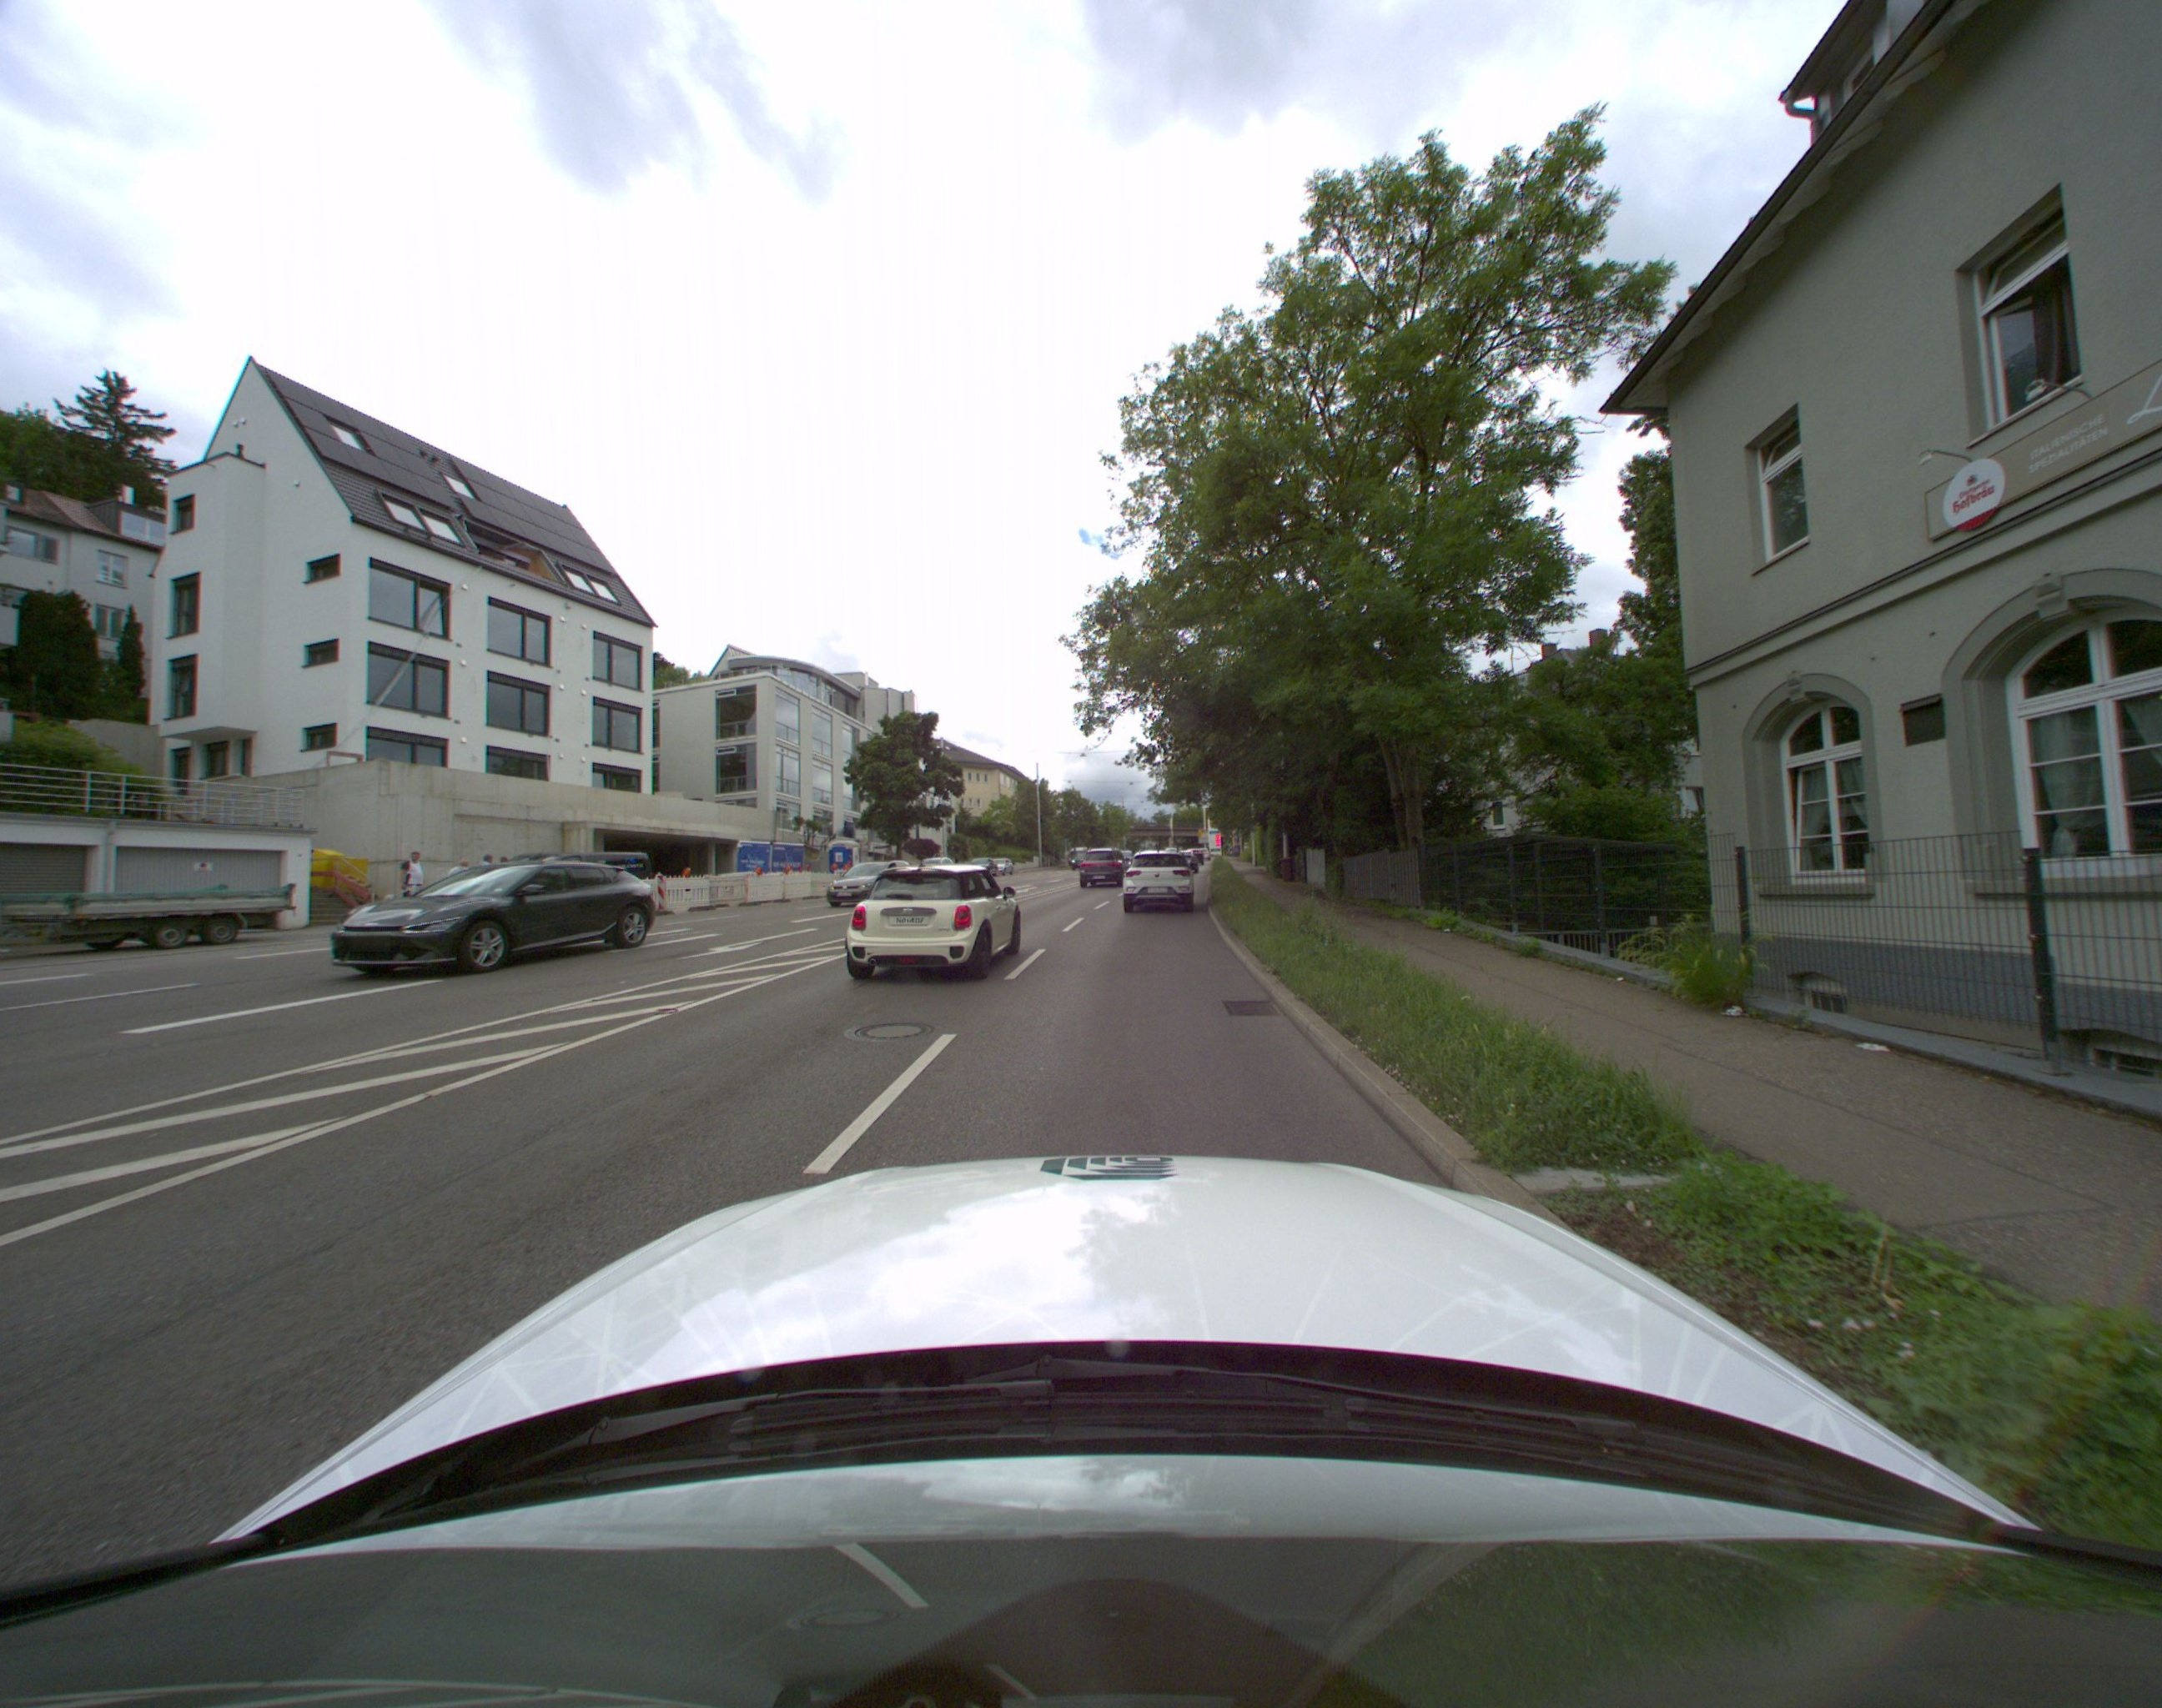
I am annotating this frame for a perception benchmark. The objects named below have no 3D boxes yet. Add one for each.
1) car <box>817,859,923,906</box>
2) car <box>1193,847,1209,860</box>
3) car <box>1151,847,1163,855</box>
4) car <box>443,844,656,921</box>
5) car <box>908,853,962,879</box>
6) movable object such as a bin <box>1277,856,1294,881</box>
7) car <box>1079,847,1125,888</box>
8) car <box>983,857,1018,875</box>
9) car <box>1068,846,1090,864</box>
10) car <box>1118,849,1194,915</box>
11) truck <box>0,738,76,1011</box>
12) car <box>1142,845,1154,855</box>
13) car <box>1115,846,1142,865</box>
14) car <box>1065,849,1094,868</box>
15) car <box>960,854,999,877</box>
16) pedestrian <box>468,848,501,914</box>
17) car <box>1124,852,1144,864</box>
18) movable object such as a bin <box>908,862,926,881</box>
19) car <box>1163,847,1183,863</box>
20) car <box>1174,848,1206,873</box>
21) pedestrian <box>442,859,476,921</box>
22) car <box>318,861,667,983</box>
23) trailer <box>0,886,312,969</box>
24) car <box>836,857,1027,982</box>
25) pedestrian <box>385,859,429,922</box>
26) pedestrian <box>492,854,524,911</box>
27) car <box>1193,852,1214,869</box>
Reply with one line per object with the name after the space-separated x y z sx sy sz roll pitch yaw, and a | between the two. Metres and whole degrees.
-6.989 0.915 27.509 1.832 1.393 4.296 -1 0 10 | car
14.732 -0.043 100.144 1.848 1.500 4.063 -2 0 6 | car
14.495 -0.510 155.664 1.852 1.500 4.054 -2 0 -1 | car
-15.118 0.733 23.628 1.969 1.967 5.236 -1 0 12 | car
-9.013 0.690 50.502 1.759 1.499 4.319 -1 0 12 | car
7.920 0.545 31.515 0.552 0.947 0.568 -1 0 5 | movable object such as a bin
0.853 0.545 36.084 1.807 1.652 4.634 -2 0 -1 | car
-6.670 0.953 67.883 1.760 1.407 4.154 -1 0 10 | car
-0.225 0.117 110.453 2.057 2.305 5.478 -1 0 8 | car
2.022 0.678 21.751 1.802 1.539 3.696 -2 0 6 | car
-13.663 0.248 5.129 2.945 2.971 8.995 -1 0 7 | truck
11.491 -0.653 139.593 1.886 1.542 4.701 -1 0 6 | car
4.367 0.136 74.685 1.759 1.596 5.199 -1 0 11 | car
-0.084 0.414 73.655 1.759 1.634 4.156 -1 0 12 | car
-7.684 0.870 62.060 1.759 1.634 3.928 -1 0 11 | car
-16.958 0.752 23.140 0.679 1.840 0.664 1 0 -41 | pedestrian
5.984 0.420 91.548 1.731 1.352 4.857 -1 0 8 | car
-8.595 0.902 42.746 0.640 0.990 0.663 -1 0 17 | movable object such as a bin
10.113 0.060 89.313 1.847 1.652 4.648 -2 0 9 | car
6.954 0.418 52.274 1.864 1.501 4.562 2 -1 6 | car
-16.875 0.971 22.094 0.679 1.640 0.664 1 0 -41 | pedestrian
-8.745 0.888 12.714 1.685 1.496 4.498 -1 0 10 | car
-17.898 1.277 15.274 2.234 1.112 4.632 -1 0 7 | trailer
-1.886 0.784 11.362 1.619 1.393 3.572 -2 0 6 | car
-17.976 0.968 21.730 0.620 1.640 0.676 1 0 26 | pedestrian
-16.975 0.829 24.124 0.679 1.640 0.664 1 0 -41 | pedestrian
11.388 0.600 75.684 1.862 1.501 4.566 2 -1 9 | car
